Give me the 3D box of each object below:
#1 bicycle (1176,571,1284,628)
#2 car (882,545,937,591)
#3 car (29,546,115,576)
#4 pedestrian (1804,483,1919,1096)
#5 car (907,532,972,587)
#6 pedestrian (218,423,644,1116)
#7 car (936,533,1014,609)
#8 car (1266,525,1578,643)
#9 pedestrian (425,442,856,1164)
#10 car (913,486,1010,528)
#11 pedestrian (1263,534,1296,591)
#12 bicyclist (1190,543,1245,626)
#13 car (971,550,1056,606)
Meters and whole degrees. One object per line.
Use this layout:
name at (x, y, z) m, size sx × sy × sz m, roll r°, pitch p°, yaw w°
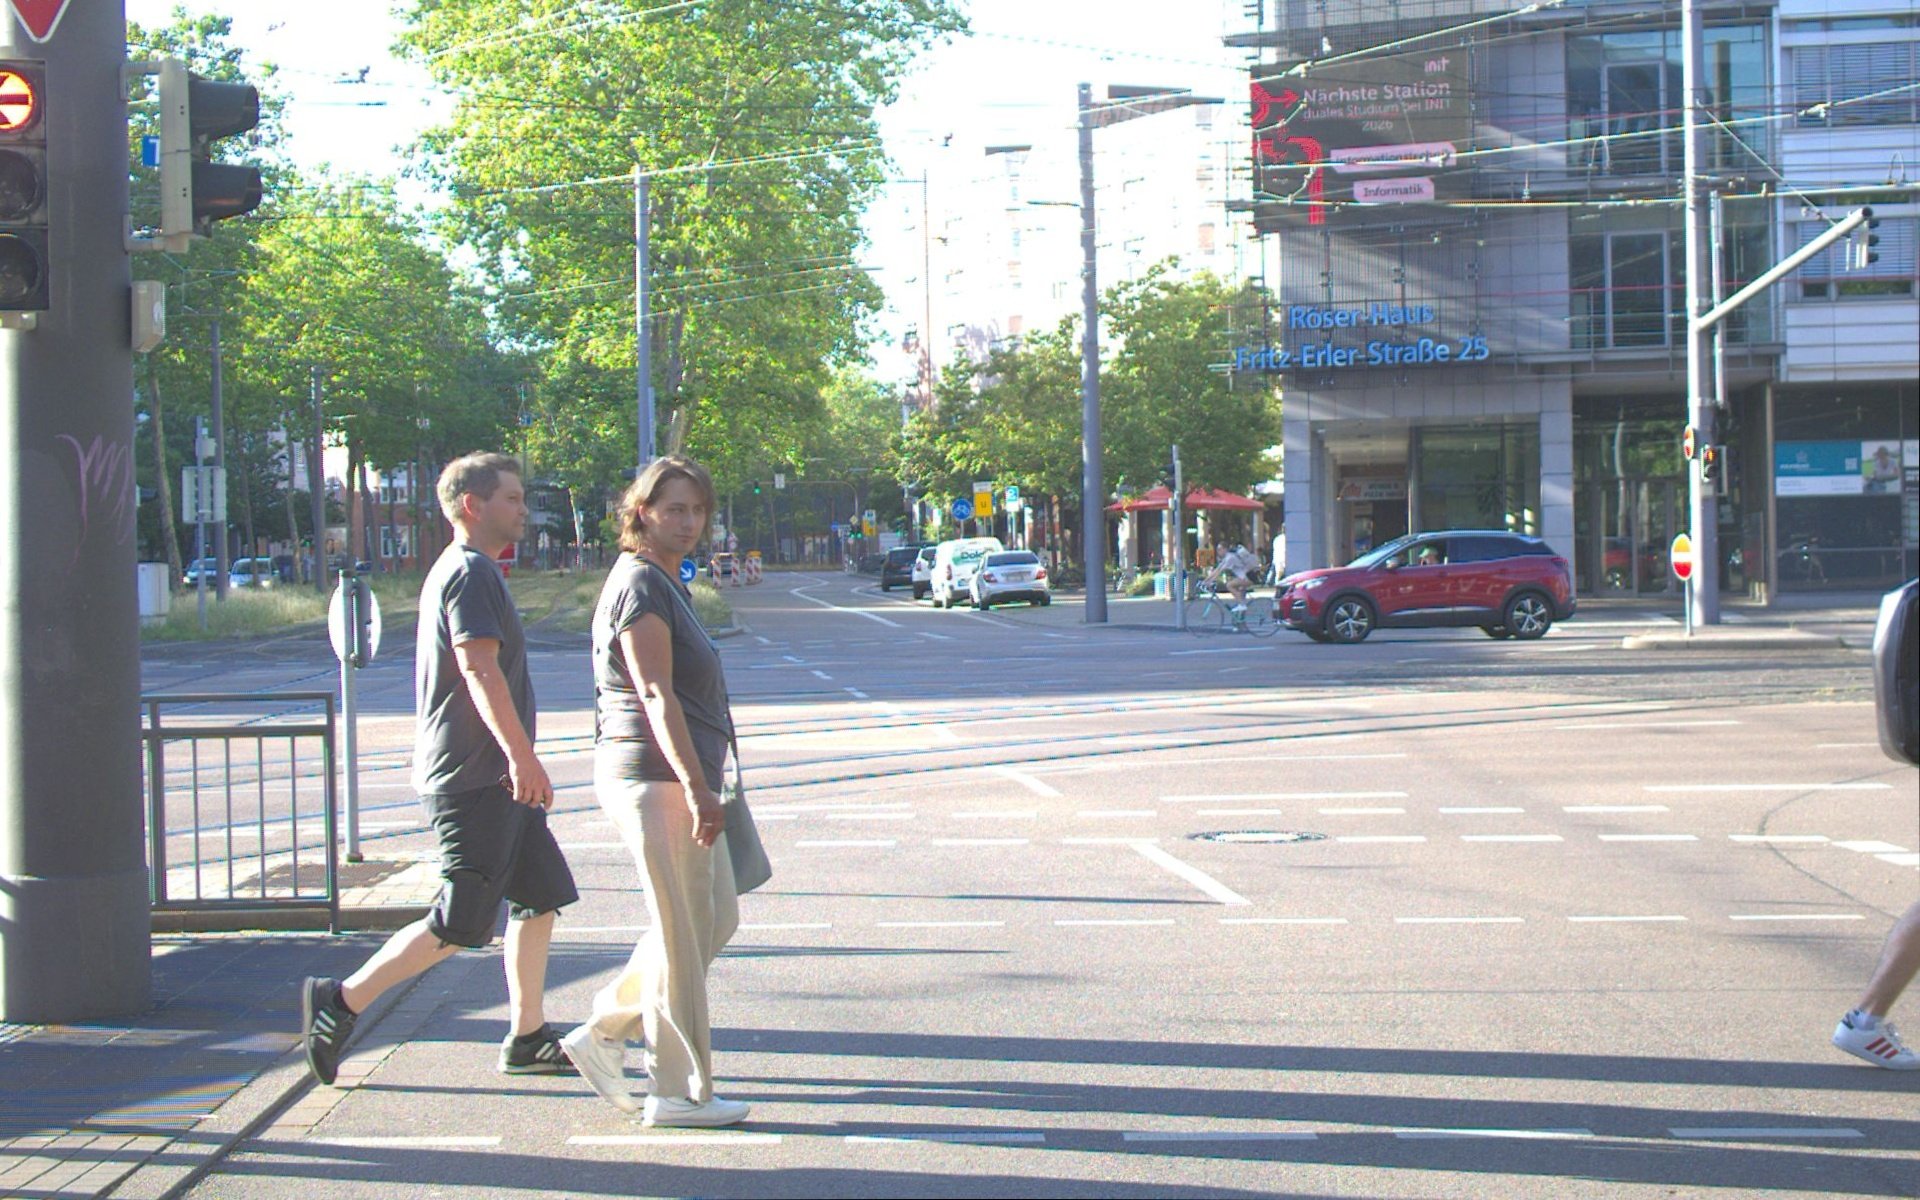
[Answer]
bicycle at (4.488, -0.010, 57.188) m, size 1.741 × 0.896 × 0.409 m, roll -2°, pitch 1°, yaw -3°
car at (-1.919, -1.227, 130.524) m, size 1.993 × 1.656 × 4.000 m, roll -2°, pitch 1°, yaw -1°
car at (-45.782, -1.999, 177.189) m, size 3.987 × 1.547 × 1.607 m, roll 0°, pitch 0°, yaw -31°
pedestrian at (3.064, 0.524, 9.928) m, size 1.073 × 1.709 × 0.628 m, roll 0°, pitch 0°, yaw -4°
car at (-0.670, -1.304, 108.804) m, size 1.993 × 1.656 × 4.000 m, roll -2°, pitch 1°, yaw -1°
pedestrian at (-1.499, 0.455, 9.837) m, size 1.145 × 1.887 × 0.833 m, roll 0°, pitch 0°, yaw -7°
car at (0.391, -0.807, 93.496) m, size 1.993 × 1.985 × 4.000 m, roll -2°, pitch 1°, yaw -1°
car at (6.807, -0.254, 50.899) m, size 4.240 × 1.596 × 1.796 m, roll -2°, pitch 1°, yaw -6°
pedestrian at (-0.848, 0.501, 9.015) m, size 1.071 × 1.800 × 0.758 m, roll 0°, pitch 0°, yaw -7°
car at (0.057, -3.927, 145.221) m, size 3.763 × 1.744 × 1.780 m, roll 0°, pitch 0°, yaw 14°
pedestrian at (8.236, -0.967, 88.667) m, size 0.739 × 1.460 × 0.537 m, roll -2°, pitch 1°, yaw -2°
bicyclist at (4.281, -0.259, 57.166) m, size 0.819 × 1.362 × 0.400 m, roll -2°, pitch 1°, yaw -3°
car at (1.323, -0.574, 86.607) m, size 1.993 × 1.327 × 4.000 m, roll -2°, pitch 1°, yaw -1°
